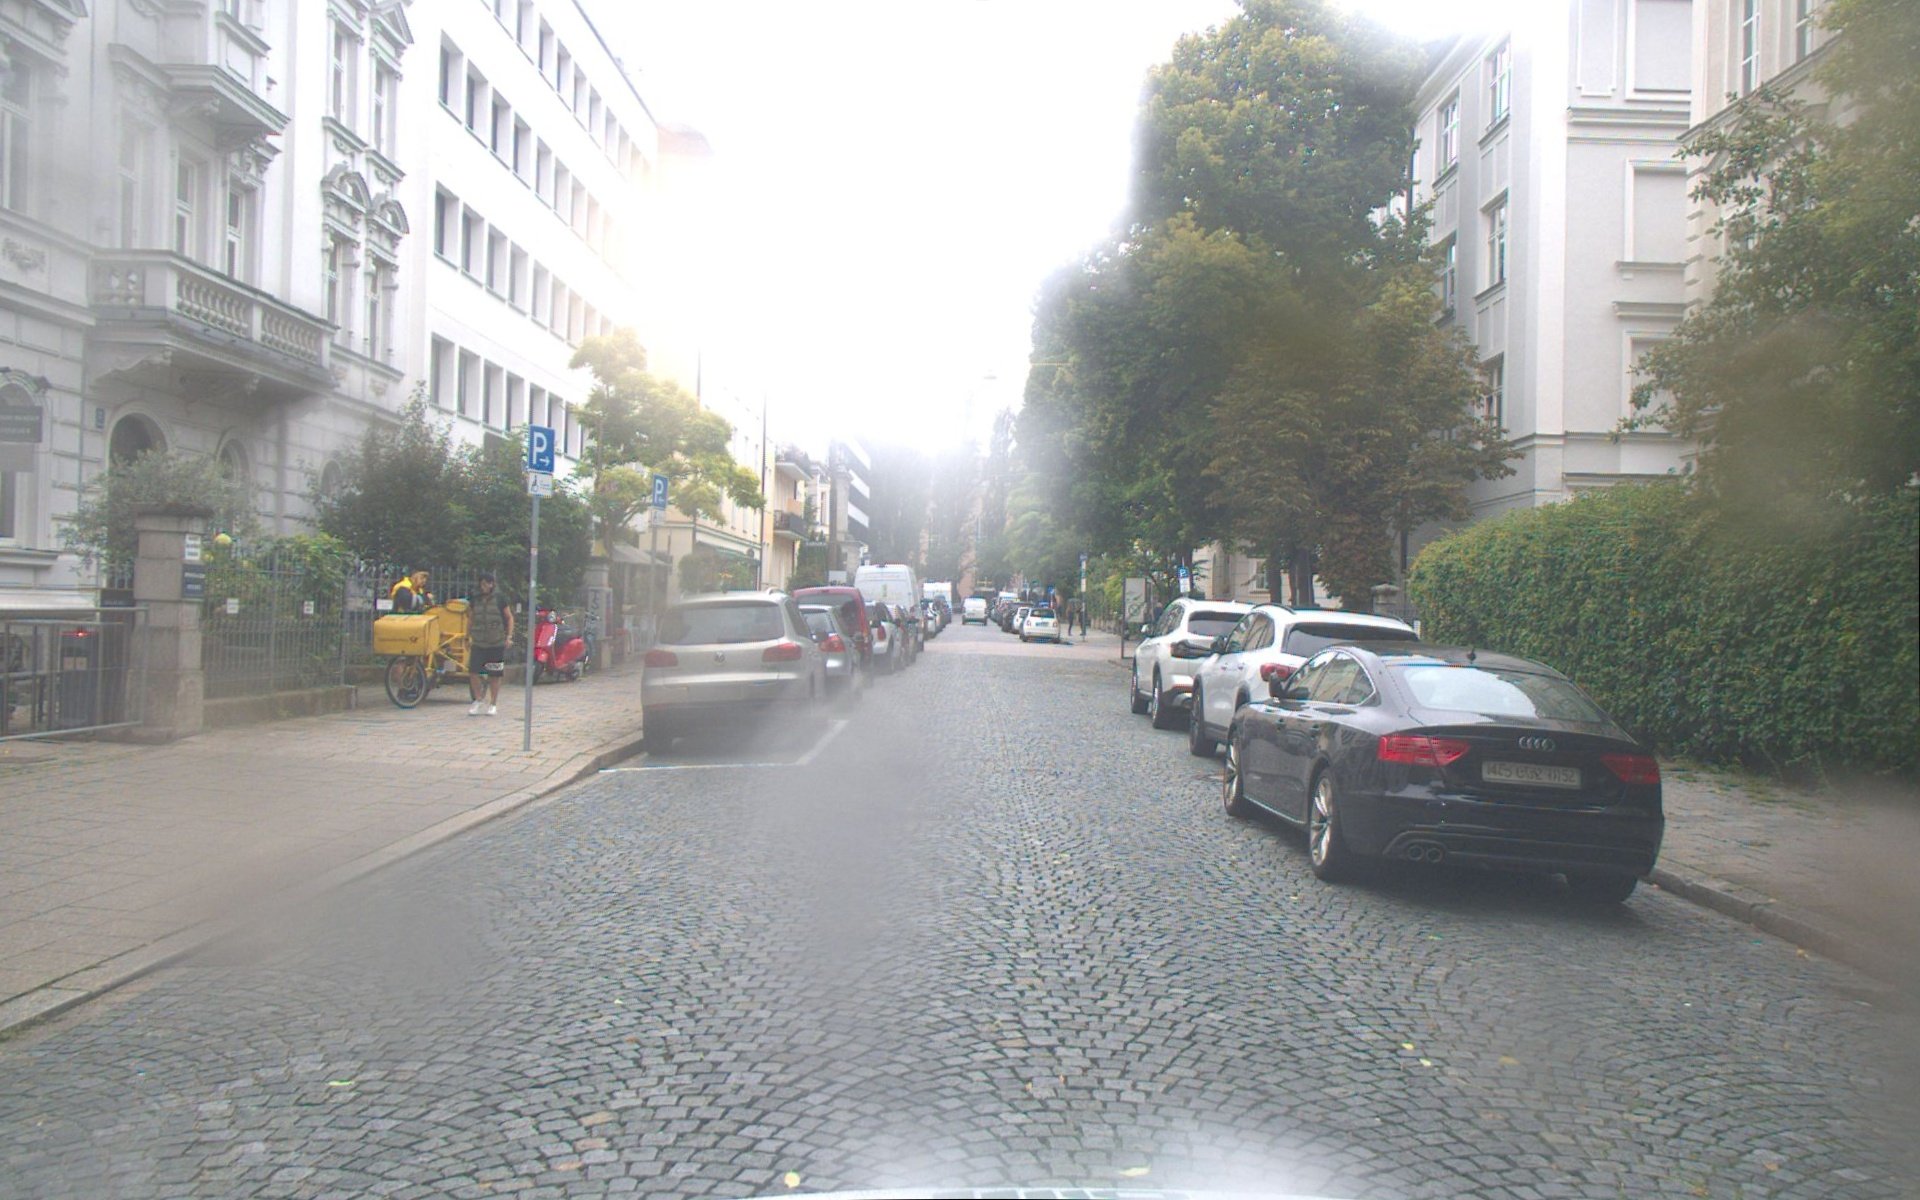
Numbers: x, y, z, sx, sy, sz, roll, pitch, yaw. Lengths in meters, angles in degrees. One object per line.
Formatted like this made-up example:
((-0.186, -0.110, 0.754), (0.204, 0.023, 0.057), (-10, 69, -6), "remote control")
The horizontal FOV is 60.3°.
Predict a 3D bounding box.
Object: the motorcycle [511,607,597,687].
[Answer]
((-6.499, 0.739, 26.556), (0.609, 1.217, 1.866), (2, 0, 9), "motorcycle")

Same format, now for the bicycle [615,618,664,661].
((-6.829, 0.834, 35.341), (0.492, 0.854, 2.090), (2, 0, 4), "bicycle")

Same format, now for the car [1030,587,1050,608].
((8.451, -0.272, 175.157), (1.952, 2.049, 4.000), (2, -1, 1), "car")

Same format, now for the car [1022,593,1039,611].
((8.504, 0.283, 199.692), (1.952, 2.049, 4.000), (2, -1, 1), "car")

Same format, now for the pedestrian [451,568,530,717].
((-5.564, 0.496, 19.635), (0.679, 1.717, 0.720), (2, -1, 0), "pedestrian")

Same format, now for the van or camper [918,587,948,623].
((-2.200, 0.391, 135.844), (2.210, 2.790, 5.098), (2, 0, 1), "van or camper")

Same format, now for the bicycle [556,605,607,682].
((-6.587, 0.735, 28.720), (0.645, 1.242, 2.079), (2, 0, -18), "bicycle")

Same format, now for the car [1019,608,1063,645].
((3.519, 1.136, 72.282), (1.753, 1.547, 4.000), (2, 0, 1), "car")

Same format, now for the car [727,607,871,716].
((-2.307, 0.843, 24.648), (1.835, 1.476, 4.206), (0, 0, -2), "car")

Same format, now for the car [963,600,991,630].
((1.227, 1.068, 117.541), (1.952, 2.049, 4.000), (2, 0, 1), "car")

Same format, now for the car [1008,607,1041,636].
((3.596, 1.198, 92.955), (1.753, 1.547, 4.000), (2, 0, 1), "car")

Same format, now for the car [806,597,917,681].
((-2.097, 0.825, 36.277), (1.834, 1.607, 4.210), (4, 0, 4), "car")

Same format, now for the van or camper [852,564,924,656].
((-2.192, 0.301, 51.243), (1.952, 2.699, 4.000), (-1, 0, 1), "van or camper")

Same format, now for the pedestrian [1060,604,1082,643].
((5.977, 1.267, 89.254), (0.842, 2.049, 0.986), (2, -1, -17), "pedestrian")

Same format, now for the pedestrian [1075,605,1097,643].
((6.813, 1.302, 89.693), (0.842, 2.049, 0.986), (2, -1, -17), "pedestrian")

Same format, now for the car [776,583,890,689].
((-2.327, 0.647, 31.209), (1.835, 1.807, 4.122), (-2, 0, -1), "car")

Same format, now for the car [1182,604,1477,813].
((3.386, 0.921, 15.984), (1.781, 1.607, 4.207), (5, 0, 0), "car")

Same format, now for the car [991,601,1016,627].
((3.593, 1.124, 136.149), (1.952, 2.049, 4.000), (2, 0, 1), "car")

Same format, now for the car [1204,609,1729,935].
((2.946, 0.899, 10.769), (1.836, 1.529, 4.510), (4, 0, -2), "car")

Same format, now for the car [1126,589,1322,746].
((3.446, 0.832, 22.469), (1.835, 1.763, 4.593), (4, 0, 0), "car")

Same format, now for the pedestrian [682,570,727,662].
((-5.590, 0.342, 36.263), (0.776, 1.951, 0.759), (3, 0, 0), "pedestrian")

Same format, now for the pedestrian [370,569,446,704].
((-7.216, 0.473, 21.647), (0.703, 1.717, 0.695), (2, -1, 0), "pedestrian")

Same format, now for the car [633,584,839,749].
((-2.384, 0.663, 18.602), (1.835, 1.607, 4.254), (-1, 0, -2), "car")

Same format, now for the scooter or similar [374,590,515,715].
((-6.526, 0.632, 21.122), (0.922, 1.467, 2.656), (2, 0, 0), "scooter or similar")
